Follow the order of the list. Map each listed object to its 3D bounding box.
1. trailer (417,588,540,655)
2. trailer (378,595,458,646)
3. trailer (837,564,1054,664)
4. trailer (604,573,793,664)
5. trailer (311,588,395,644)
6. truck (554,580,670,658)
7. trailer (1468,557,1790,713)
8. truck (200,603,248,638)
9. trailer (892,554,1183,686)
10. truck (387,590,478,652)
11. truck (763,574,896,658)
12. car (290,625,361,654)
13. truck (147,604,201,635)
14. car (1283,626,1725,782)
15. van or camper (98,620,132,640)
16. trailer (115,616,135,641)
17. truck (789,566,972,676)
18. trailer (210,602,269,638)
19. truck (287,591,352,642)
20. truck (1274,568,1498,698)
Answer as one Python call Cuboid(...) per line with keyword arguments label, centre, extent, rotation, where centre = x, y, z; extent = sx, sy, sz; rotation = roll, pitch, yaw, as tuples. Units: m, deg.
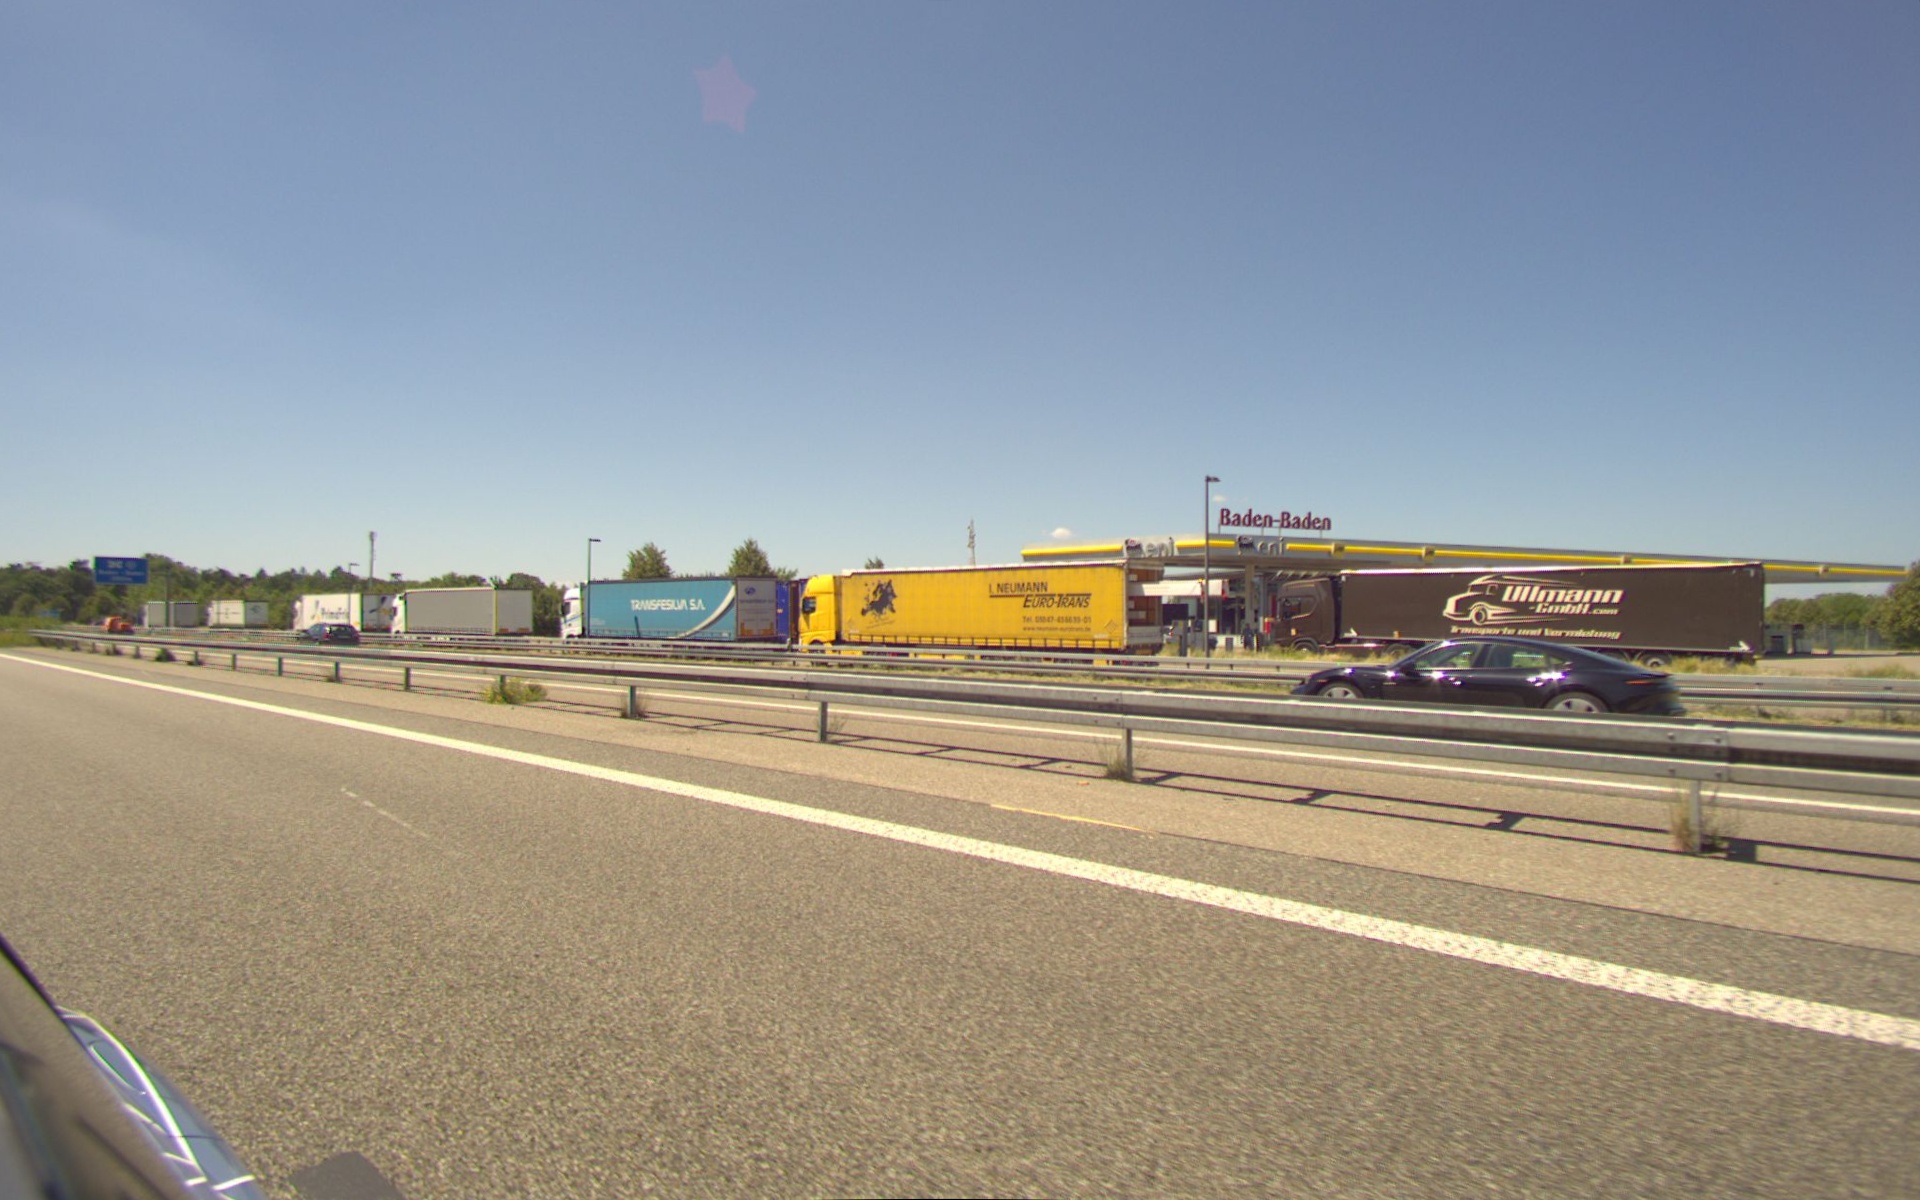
Cuboid(label="trailer", centre=(-32.489, 1.409, 68.009), extent=(11.005, 4.189, 3.082), rotation=(-1, 0, 40))
Cuboid(label="trailer", centre=(-45.471, 1.675, 84.756), extent=(9.302, 4.036, 2.668), rotation=(-1, 0, 41))
Cuboid(label="trailer", centre=(-0.974, 0.635, 46.973), extent=(11.081, 4.180, 2.803), rotation=(-1, 0, 42))
Cuboid(label="trailer", centre=(-13.586, 0.894, 51.530), extent=(12.074, 4.180, 2.805), rotation=(-1, 0, 40))
Cuboid(label="trailer", centre=(-49.315, 1.299, 82.081), extent=(10.508, 4.250, 2.572), rotation=(-1, 0, 41))
Cuboid(label="truck", centre=(-19.523, 1.038, 56.597), extent=(7.084, 4.104, 2.821), rotation=(-1, 0, 40))
Cuboid(label="trailer", centre=(23.446, 1.132, 35.936), extent=(9.133, 4.886, 3.000), rotation=(-1, 0, 43))
Cuboid(label="truck", centre=(-93.707, 2.580, 128.836), extent=(8.311, 4.183, 3.063), rotation=(-1, 0, 41))
Cuboid(label="trailer", centre=(2.495, 0.705, 37.276), extent=(11.074, 4.251, 2.805), rotation=(-1, 0, 40))
Cuboid(label="truck", centre=(-37.787, 1.482, 72.441), extent=(7.498, 4.189, 3.086), rotation=(-1, 0, 40))
Cuboid(label="truck", centre=(-6.833, 0.791, 52.304), extent=(7.088, 4.104, 2.803), rotation=(-1, 0, 42))
Cuboid(label="car", centre=(-30.825, 1.904, 49.137), extent=(4.316, 1.286, 1.723), rotation=(-1, -4, 41))
Cuboid(label="truck", centre=(-98.963, 2.473, 127.280), extent=(13.598, 3.670, 2.770), rotation=(-1, 0, 41))
Cuboid(label="car", centre=(7.224, 1.237, 13.808), extent=(5.013, 1.659, 1.952), rotation=(-1, 0, 41))
Cuboid(label="van or camper", centre=(-83.944, 2.968, 100.484), extent=(4.744, 1.853, 1.877), rotation=(-1, -1, 41))
Cuboid(label="trailer", centre=(-80.271, 2.713, 97.298), extent=(1.997, 2.387, 1.155), rotation=(-1, -2, 41))
Cuboid(label="truck", centre=(-3.468, 0.825, 42.338), extent=(7.912, 4.232, 2.804), rotation=(-1, 0, 40))
Cuboid(label="trailer", centre=(-88.771, 2.491, 124.571), extent=(12.003, 4.187, 3.062), rotation=(-1, 0, 41))
Cuboid(label="truck", centre=(-55.148, 1.397, 87.083), extent=(7.931, 4.220, 2.555), rotation=(-1, 0, 41))
Cuboid(label="truck", centre=(17.357, 1.260, 41.629), extent=(7.878, 4.886, 2.993), rotation=(-1, 0, 43))
